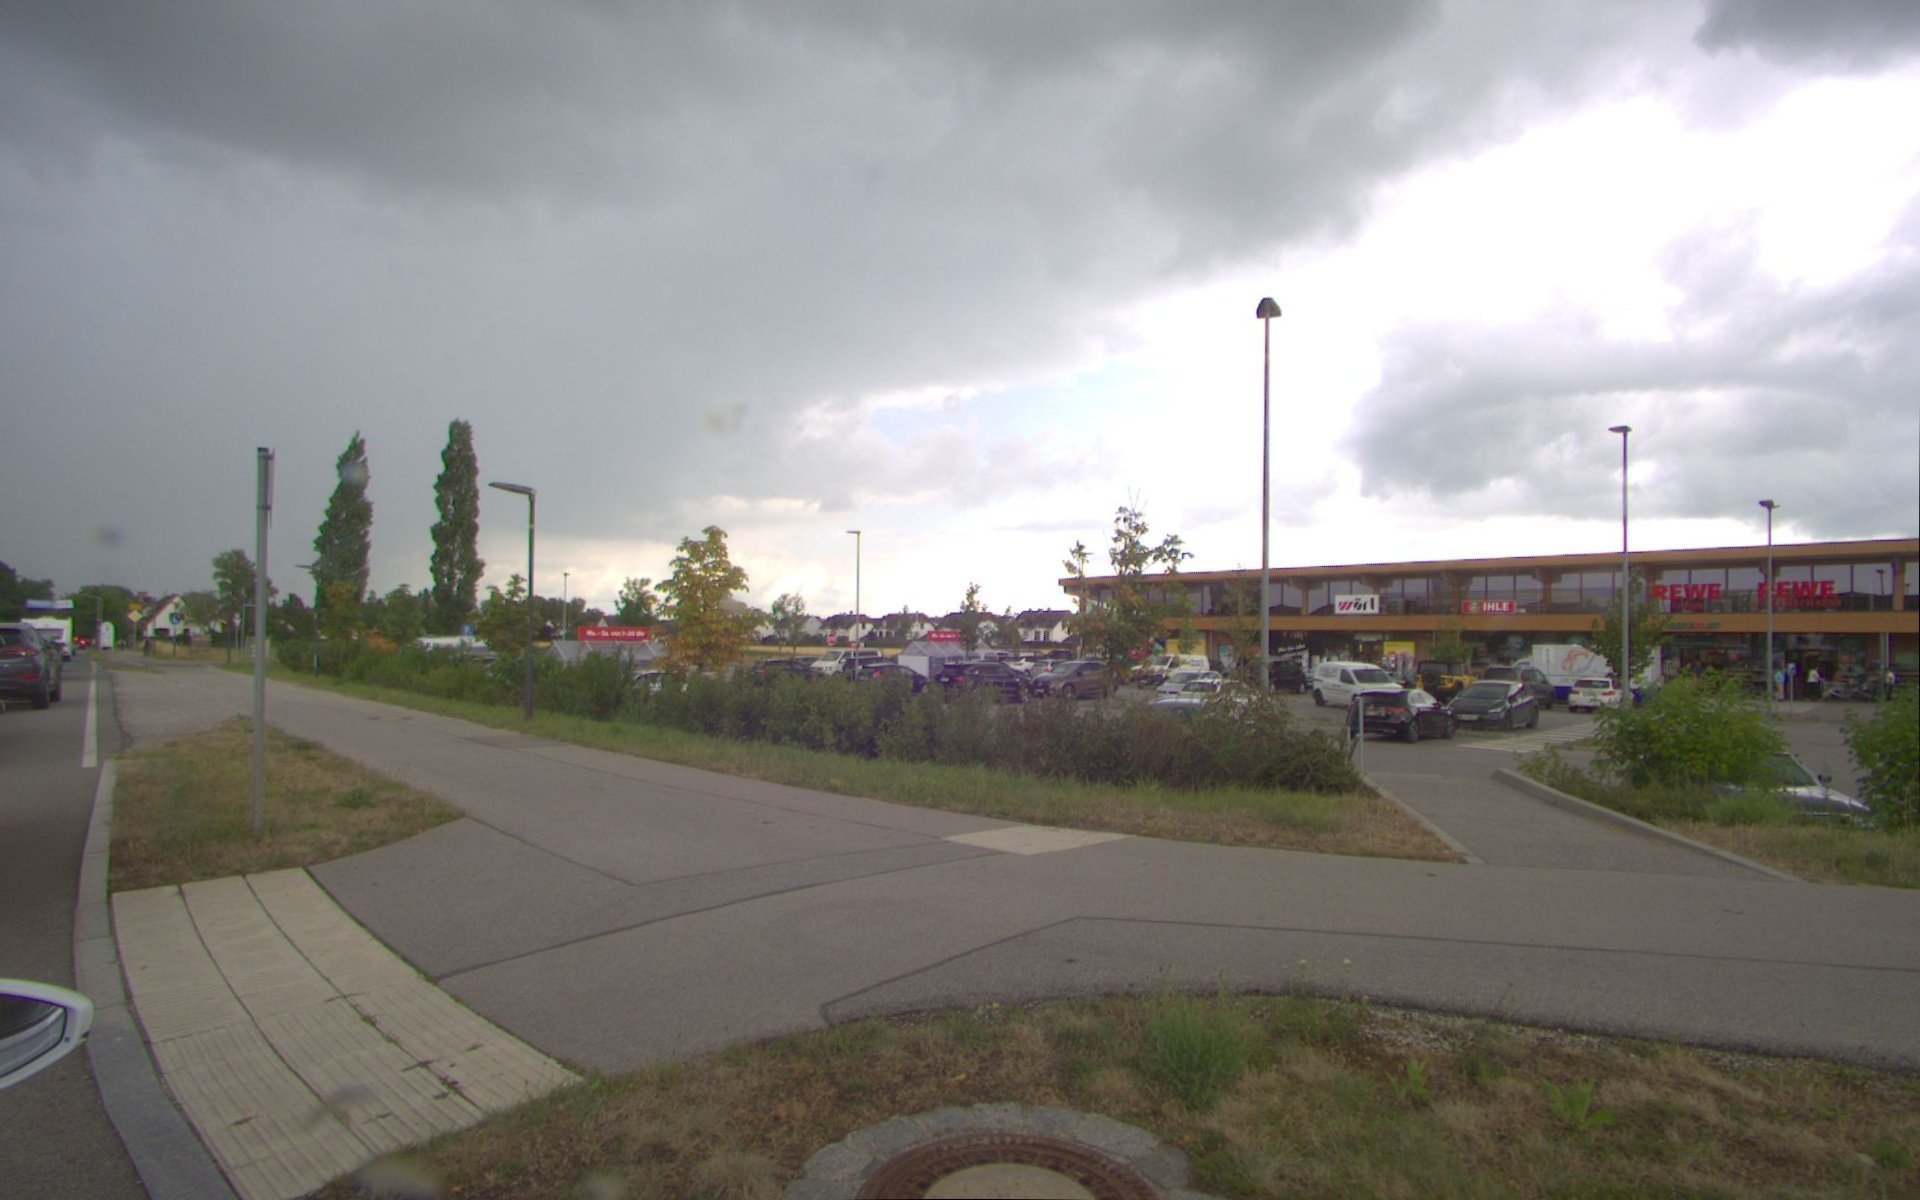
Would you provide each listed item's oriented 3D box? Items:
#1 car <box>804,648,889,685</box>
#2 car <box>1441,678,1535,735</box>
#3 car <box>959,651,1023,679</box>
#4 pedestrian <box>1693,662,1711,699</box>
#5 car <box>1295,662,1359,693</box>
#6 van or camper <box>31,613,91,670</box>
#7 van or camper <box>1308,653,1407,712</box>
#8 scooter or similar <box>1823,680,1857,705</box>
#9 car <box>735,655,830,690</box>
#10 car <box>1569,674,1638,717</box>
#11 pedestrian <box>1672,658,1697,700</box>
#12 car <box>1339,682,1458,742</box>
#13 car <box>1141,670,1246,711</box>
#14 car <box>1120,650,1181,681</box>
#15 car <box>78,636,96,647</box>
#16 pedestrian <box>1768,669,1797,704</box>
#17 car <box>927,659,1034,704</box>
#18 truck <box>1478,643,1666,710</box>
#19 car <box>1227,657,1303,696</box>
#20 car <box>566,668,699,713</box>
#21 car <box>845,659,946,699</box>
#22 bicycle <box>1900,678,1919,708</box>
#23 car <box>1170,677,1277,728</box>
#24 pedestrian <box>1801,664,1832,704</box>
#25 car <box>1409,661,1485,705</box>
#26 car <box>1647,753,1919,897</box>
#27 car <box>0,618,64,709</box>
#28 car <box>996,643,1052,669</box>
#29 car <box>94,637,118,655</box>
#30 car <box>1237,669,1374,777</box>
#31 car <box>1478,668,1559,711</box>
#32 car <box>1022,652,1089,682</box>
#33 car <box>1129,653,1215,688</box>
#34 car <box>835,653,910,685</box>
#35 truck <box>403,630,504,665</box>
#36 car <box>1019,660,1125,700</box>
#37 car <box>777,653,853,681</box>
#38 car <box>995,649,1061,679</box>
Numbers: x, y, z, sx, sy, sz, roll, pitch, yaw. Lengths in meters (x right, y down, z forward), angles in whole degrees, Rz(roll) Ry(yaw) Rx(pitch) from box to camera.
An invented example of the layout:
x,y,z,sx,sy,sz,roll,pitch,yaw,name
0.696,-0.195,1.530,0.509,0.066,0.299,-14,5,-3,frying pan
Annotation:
x,y,z,sx,sy,sz,roll,pitch,yaw,name
-6.628,3.868,59.198,1.975,2.039,5.090,1,-2,38,car
16.926,3.349,32.007,1.713,1.572,3.967,-1,-3,43,car
2.073,4.326,66.863,3.955,1.860,1.985,3,-3,-38,car
40.772,4.411,55.034,0.515,1.973,0.579,1,-1,-5,pedestrian
20.315,4.261,55.379,1.750,1.632,4.188,-2,-4,45,car
-56.723,2.668,63.236,2.607,3.364,6.763,3,-4,-41,van or camper
15.728,3.211,39.917,1.731,2.124,4.807,1,-2,-5,van or camper
43.144,4.543,49.110,0.984,1.140,0.794,1,-4,16,scooter or similar
-9.255,3.752,52.368,4.525,1.685,1.983,3,-3,-41,car
26.097,3.822,40.552,1.713,1.549,3.967,-1,-3,43,car
36.398,3.961,50.314,0.922,2.039,0.799,-1,-2,43,pedestrian
12.314,3.073,28.012,1.817,1.415,3.965,-1,-3,44,car
9.711,3.693,41.469,4.741,1.503,1.887,3,-3,-42,car
12.295,4.197,64.495,4.075,1.917,1.781,3,-3,-43,car
-111.960,5.326,128.429,1.601,1.288,3.432,3,-3,-40,car
39.777,4.181,48.409,0.737,1.678,0.804,1,-2,-14,pedestrian
0.905,3.368,41.429,4.421,1.727,1.788,4,-4,-42,car
28.905,3.523,47.507,7.183,2.842,2.951,-2,-3,44,truck
15.846,3.968,51.876,3.962,1.859,1.983,6,-5,-41,car
-12.002,3.277,36.829,4.203,1.458,1.983,3,-3,-41,car
-2.939,3.585,46.144,4.373,1.685,1.983,3,-3,-41,car
44.703,4.247,45.486,0.970,1.325,2.844,2,-3,-42,bicycle
8.633,3.305,32.683,1.666,1.503,3.962,-2,-4,44,car
42.246,4.145,49.391,0.911,1.921,0.794,1,-4,16,pedestrian
22.114,3.729,45.396,3.960,1.877,1.757,3,-4,-42,car
11.653,3.095,14.413,1.551,1.389,3.733,1,-3,11,car
-18.585,1.181,19.384,1.763,1.638,3.965,1,-2,-41,car
4.739,4.101,73.949,3.954,1.863,1.861,2,-3,-38,car
-79.299,4.259,92.996,1.601,1.651,3.586,3,-3,-40,car
4.691,1.647,13.995,1.550,1.221,3.756,1,-4,16,car
23.820,3.783,42.637,4.080,1.746,1.836,4,-5,-43,car
6.011,4.196,62.827,3.956,1.860,1.985,3,-4,-39,car
11.833,3.919,55.765,5.250,1.853,1.983,4,-4,-41,car
-4.894,3.863,56.443,3.960,1.727,1.701,4,-4,-42,car
-28.905,2.743,57.267,1.980,1.895,4.770,-2,-4,44,truck
5.122,3.580,45.353,4.940,1.685,1.982,3,-3,-42,car
-8.805,4.048,60.872,4.280,1.597,1.753,3,-3,-40,car
4.413,4.140,64.851,3.954,1.861,1.985,2,-3,-38,car
